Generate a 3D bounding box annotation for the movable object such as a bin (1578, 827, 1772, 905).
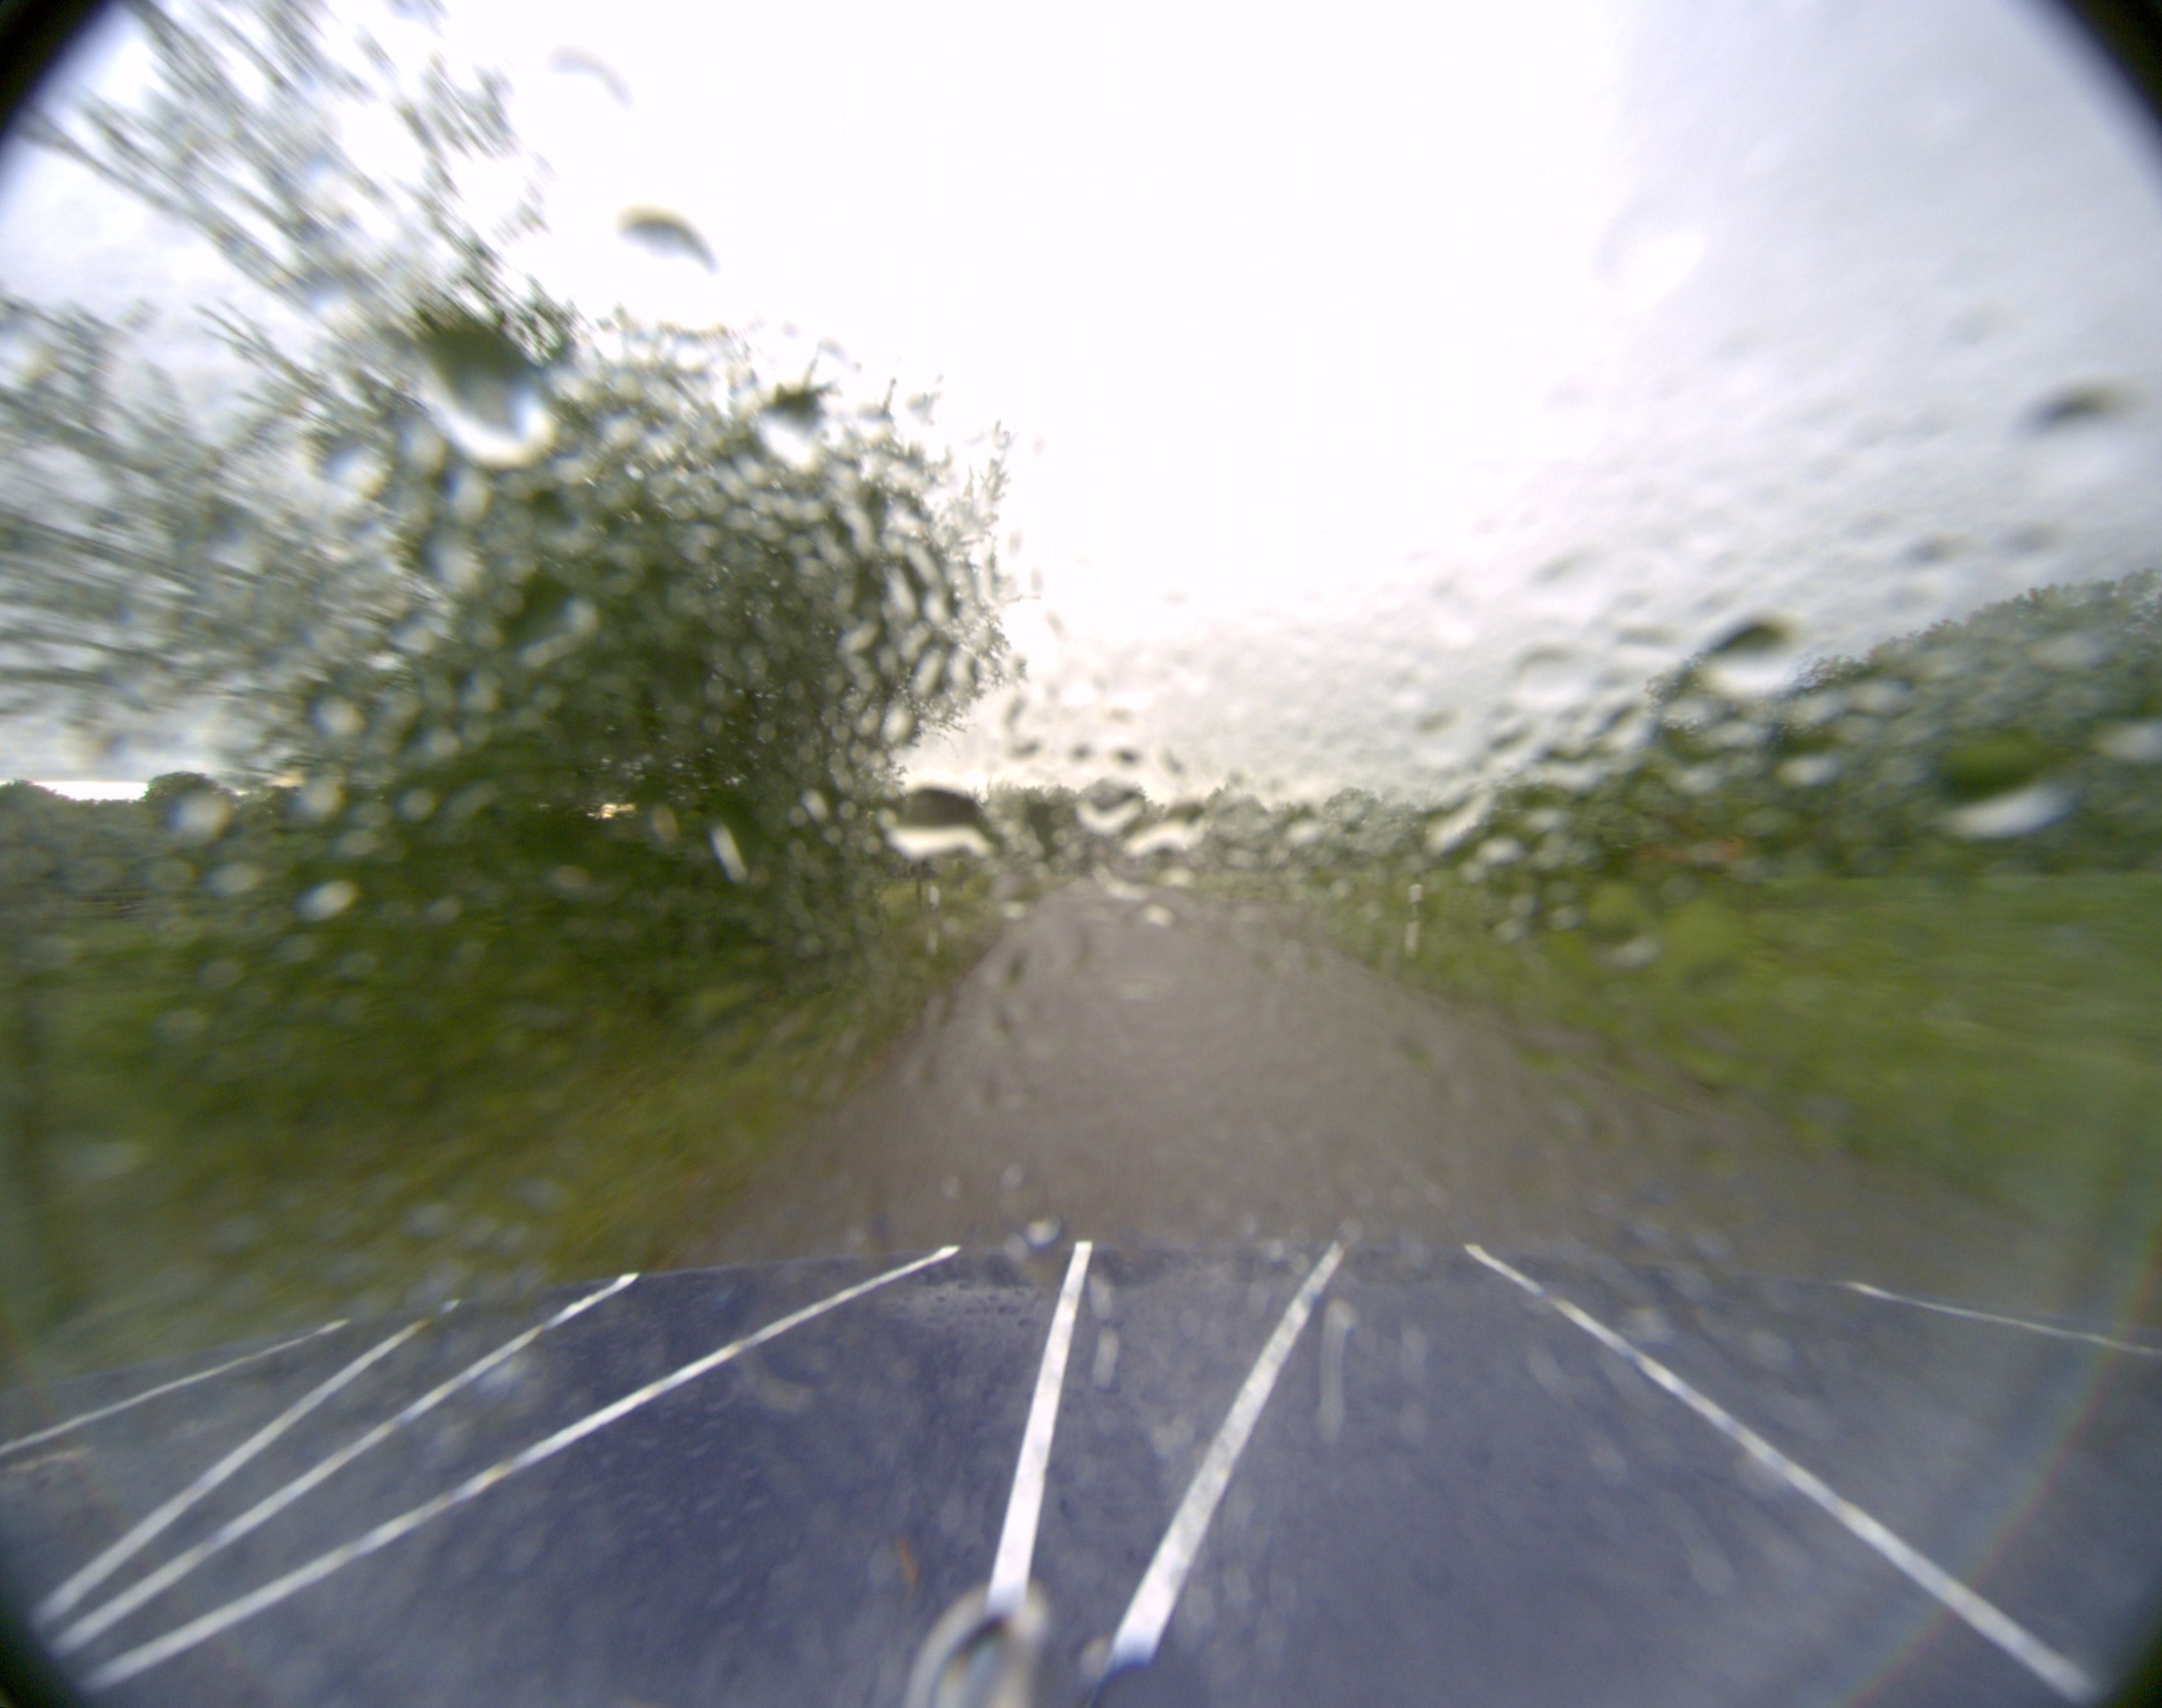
[{"bbox_3d":[13.673,0.242,17.773,1.683,1.562,3.537,-3,1,-1],"label":"movable object such as a bin"}]
